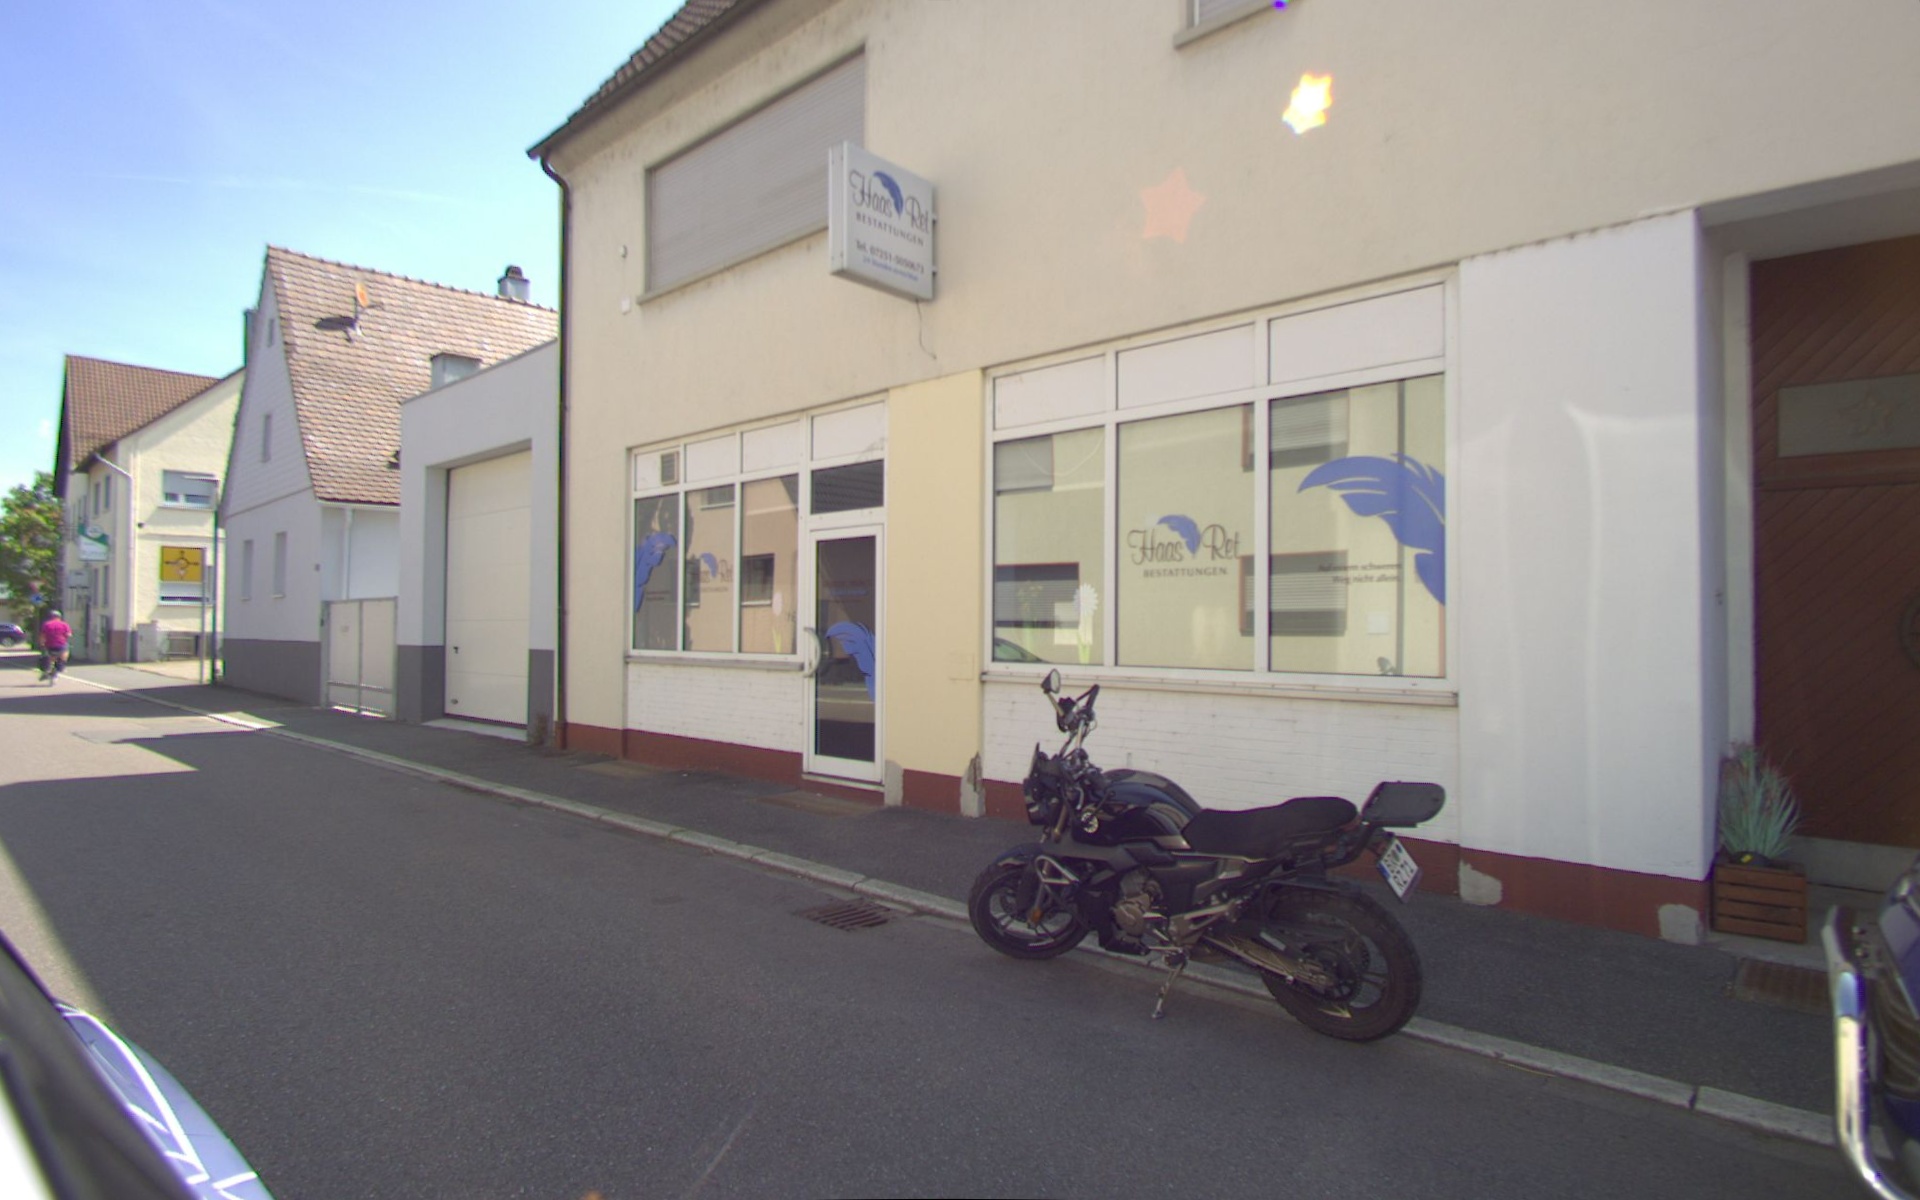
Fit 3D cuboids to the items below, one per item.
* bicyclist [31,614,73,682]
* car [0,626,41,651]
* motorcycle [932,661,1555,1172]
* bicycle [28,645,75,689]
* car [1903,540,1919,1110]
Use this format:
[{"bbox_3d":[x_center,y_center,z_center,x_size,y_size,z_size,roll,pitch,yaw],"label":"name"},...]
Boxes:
[{"bbox_3d":[-22.756,1.189,25.354,0.738,1.649,0.957,1,-2,-44],"label":"bicyclist"},{"bbox_3d":[-64.801,2.607,67.708,4.764,1.658,2.004,1,-2,-37],"label":"car"},{"bbox_3d":[0.931,0.925,3.785,2.105,1.322,0.799,-2,-2,42],"label":"motorcycle"},{"bbox_3d":[-22.801,1.668,25.389,0.734,1.055,1.941,4,-4,-44],"label":"bicycle"},{"bbox_3d":[3.795,0.632,0.953,4.147,1.652,1.699,-1,-4,41],"label":"car"}]
